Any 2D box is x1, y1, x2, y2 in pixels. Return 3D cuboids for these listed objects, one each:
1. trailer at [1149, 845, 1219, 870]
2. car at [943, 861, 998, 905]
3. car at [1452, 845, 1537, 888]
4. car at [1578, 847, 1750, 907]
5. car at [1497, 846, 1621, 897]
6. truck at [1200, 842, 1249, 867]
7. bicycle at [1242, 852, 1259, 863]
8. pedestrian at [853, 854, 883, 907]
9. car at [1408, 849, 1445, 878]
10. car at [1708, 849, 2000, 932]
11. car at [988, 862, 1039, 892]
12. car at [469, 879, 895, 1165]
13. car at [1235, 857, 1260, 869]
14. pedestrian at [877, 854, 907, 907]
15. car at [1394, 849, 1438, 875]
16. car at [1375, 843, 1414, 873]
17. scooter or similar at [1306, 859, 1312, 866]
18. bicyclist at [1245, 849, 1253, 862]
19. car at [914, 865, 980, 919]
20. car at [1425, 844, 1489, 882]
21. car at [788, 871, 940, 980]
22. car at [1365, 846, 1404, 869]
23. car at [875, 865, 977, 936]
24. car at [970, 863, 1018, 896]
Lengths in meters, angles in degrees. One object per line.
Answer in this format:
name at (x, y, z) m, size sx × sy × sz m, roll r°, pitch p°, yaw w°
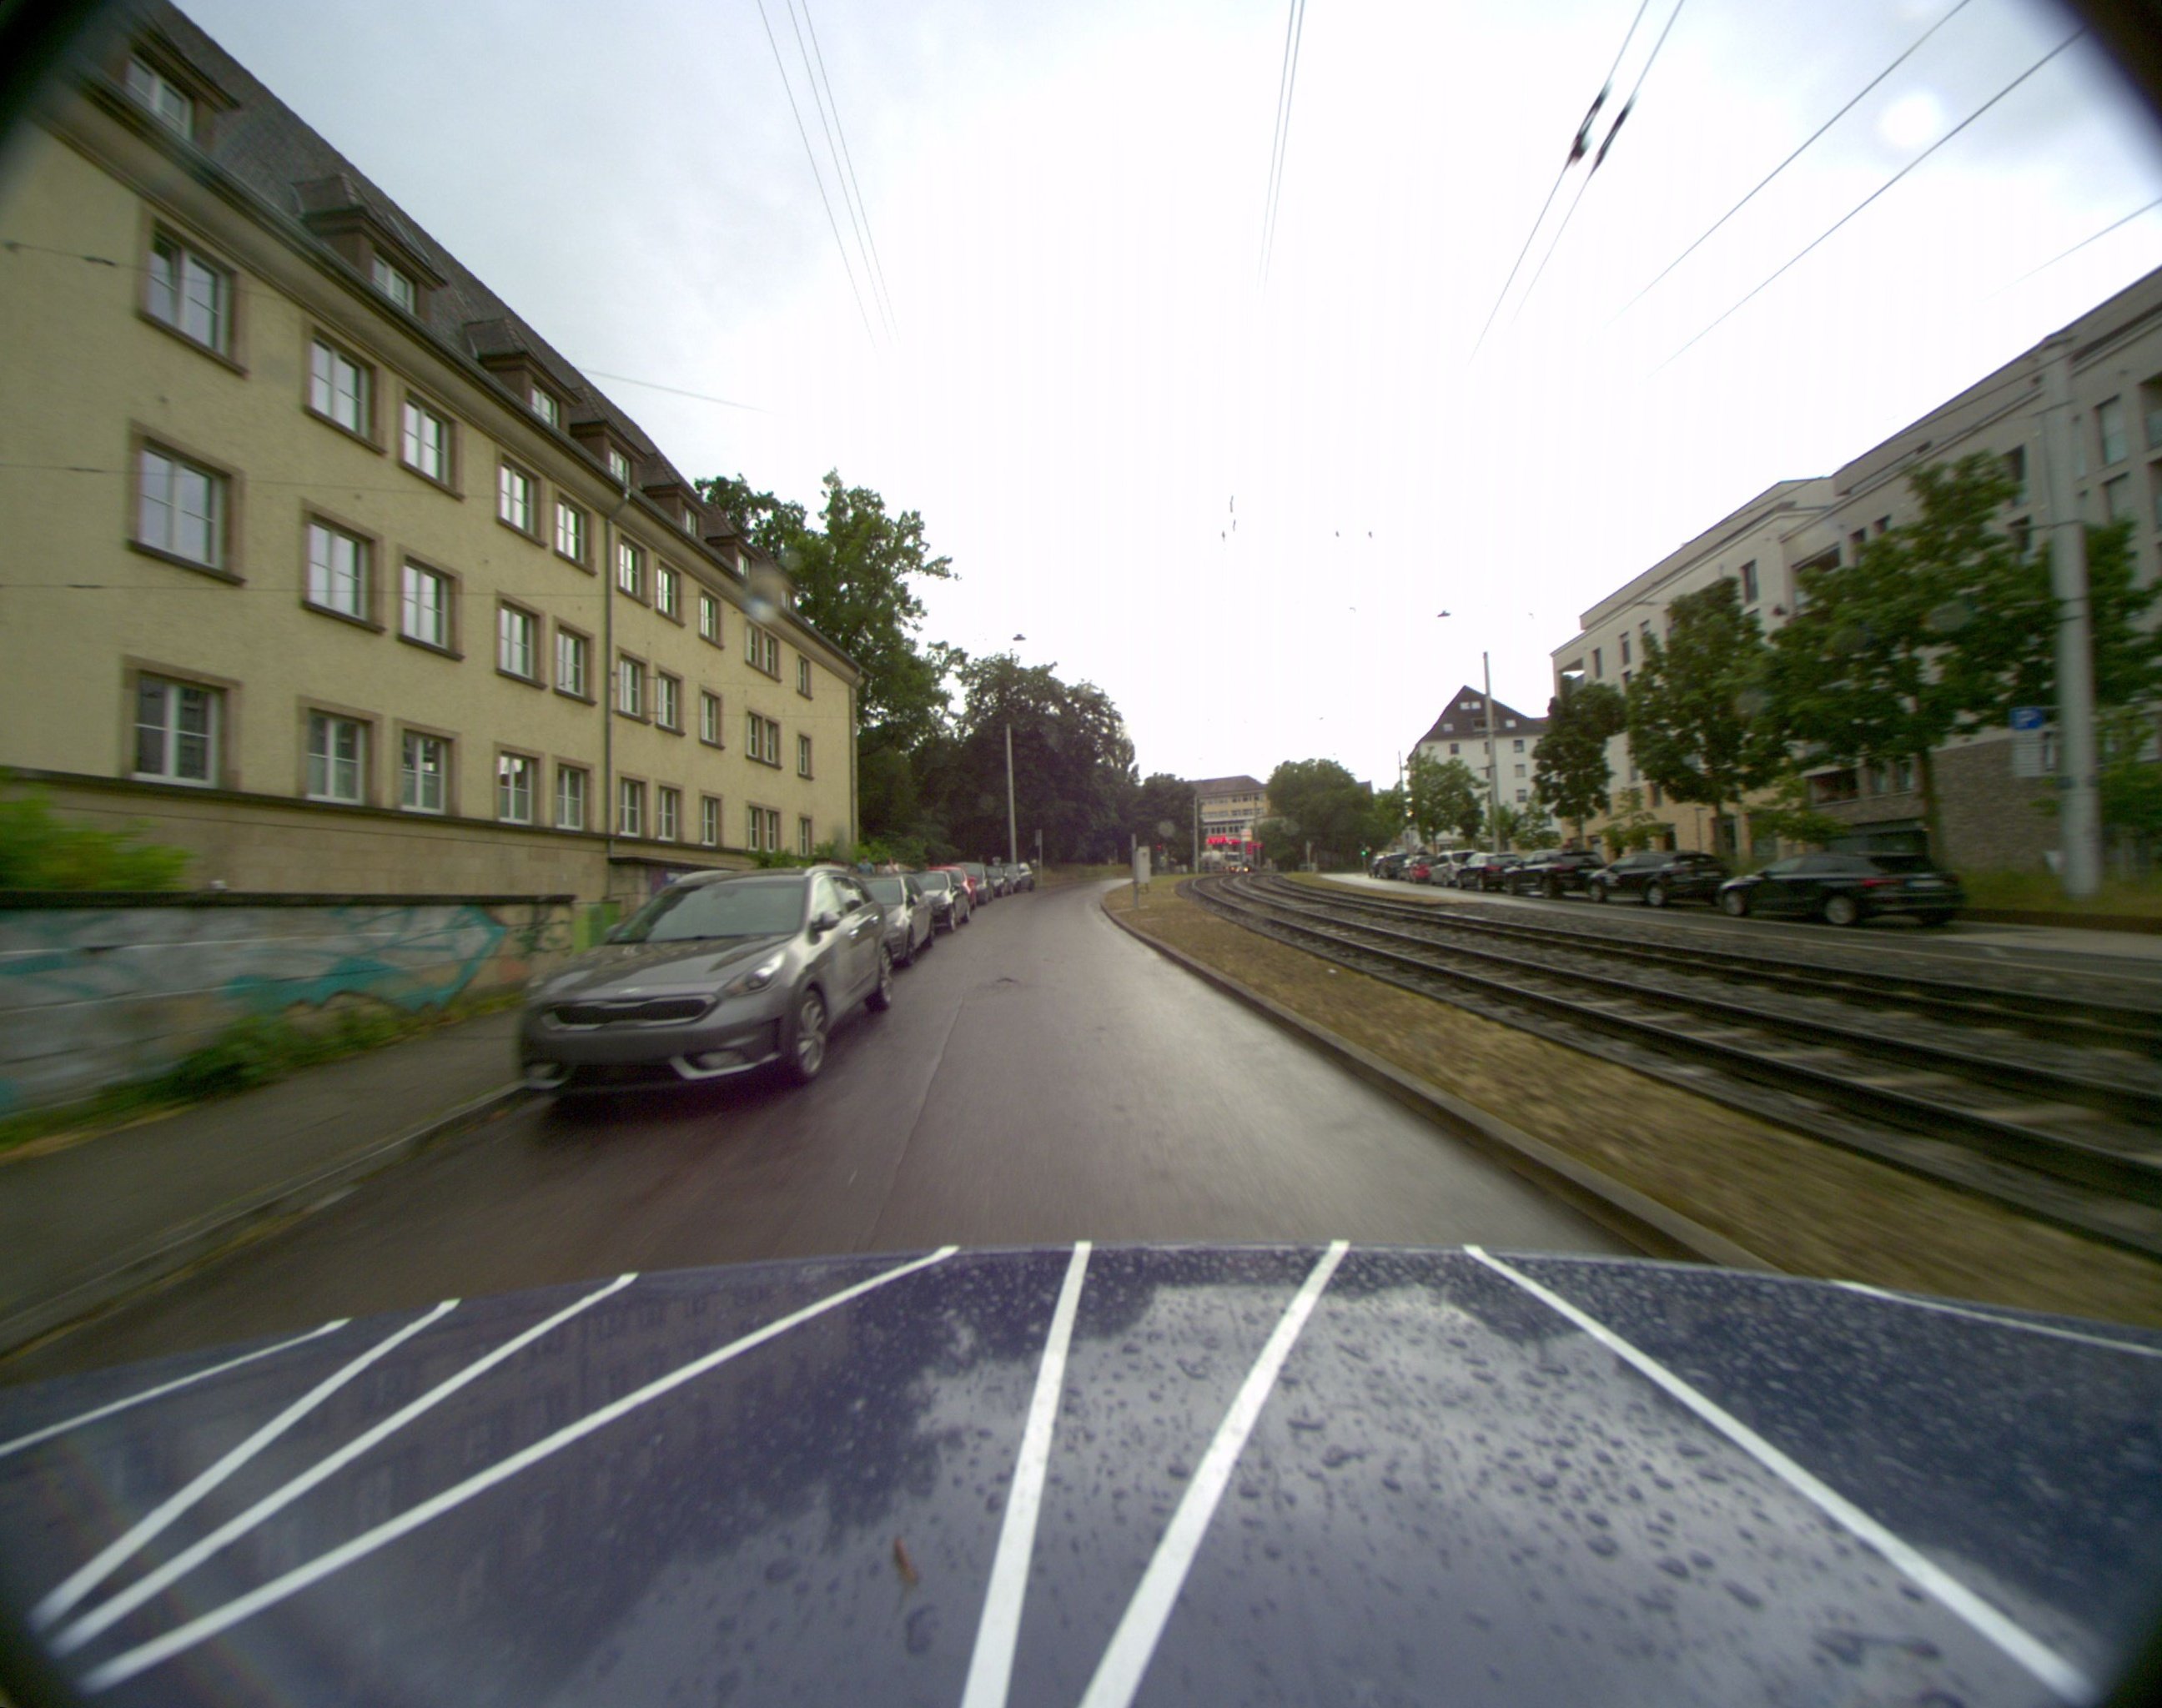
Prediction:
trailer at (15.045, 0.515, 111.715) m, size 9.809 × 3.375 × 2.819 m, roll -2°, pitch 0°, yaw 35°
car at (-4.226, 1.055, 29.444) m, size 1.670 × 1.564 × 3.855 m, roll 0°, pitch 0°, yaw -2°
car at (17.385, 0.501, 32.203) m, size 1.735 × 1.634 × 4.535 m, roll -2°, pitch 0°, yaw 9°
car at (16.442, 0.593, 21.748) m, size 1.741 × 1.480 × 4.258 m, roll -2°, pitch 0°, yaw 2°
car at (16.620, 0.575, 26.707) m, size 1.806 × 1.574 × 4.701 m, roll -2°, pitch 0°, yaw 7°
truck at (20.389, 0.058, 108.184) m, size 6.108 × 3.379 × 2.843 m, roll -1°, pitch 0°, yaw 36°
bicycle at (17.692, 0.398, 79.449) m, size 1.709 × 1.133 × 0.626 m, roll -2°, pitch 0°, yaw 8°
pedestrian at (-7.118, 0.883, 25.419) m, size 0.719 × 1.744 × 0.739 m, roll -1°, pitch 0°, yaw 7°
car at (19.343, 0.513, 42.644) m, size 1.471 × 1.522 × 2.934 m, roll -2°, pitch 0°, yaw 16°
car at (15.670, 0.655, 15.810) m, size 1.970 × 1.422 × 4.200 m, roll -2°, pitch 0°, yaw 4°
car at (-3.440, 1.139, 38.944) m, size 1.599 × 1.457 × 2.725 m, roll 0°, pitch 0°, yaw 19°
car at (-2.807, 1.035, 6.473) m, size 1.670 × 1.515 × 4.107 m, roll 0°, pitch 0°, yaw -4°
car at (21.692, 1.139, 99.058) m, size 1.886 × 1.482 × 3.857 m, roll -1°, pitch 0°, yaw 33°
pedestrian at (-6.278, 0.871, 25.251) m, size 0.719 × 1.744 × 0.739 m, roll -1°, pitch 0°, yaw 7°
car at (20.656, 0.471, 46.975) m, size 1.553 × 1.439 × 4.404 m, roll -3°, pitch 0°, yaw 12°
car at (21.469, 0.272, 52.169) m, size 1.584 × 1.848 × 4.337 m, roll -3°, pitch 0°, yaw 12°
scooter or similar at (41.665, 1.468, 138.951) m, size 0.399 × 1.186 × 1.365 m, roll -1°, pitch 3°, yaw 43°
bicyclist at (17.589, 0.162, 79.601) m, size 0.799 × 1.287 × 0.595 m, roll -2°, pitch 1°, yaw 7°
car at (-4.177, 1.139, 24.215) m, size 1.670 × 1.468 × 4.064 m, roll -2°, pitch 0°, yaw -5°
car at (18.650, 0.420, 37.852) m, size 1.666 × 1.737 × 4.260 m, roll -2°, pitch 0°, yaw 10°
car at (-3.481, 1.065, 12.934) m, size 1.670 × 1.468 × 4.107 m, roll 0°, pitch 0°, yaw -4°
car at (22.662, 0.224, 56.893) m, size 1.997 × 1.595 × 4.219 m, roll -2°, pitch 0°, yaw 13°
car at (-3.633, 1.031, 18.521) m, size 1.670 × 1.468 × 4.456 m, roll 0°, pitch 0°, yaw -1°
car at (-3.974, 1.147, 35.177) m, size 1.539 × 1.408 × 3.645 m, roll 0°, pitch 0°, yaw 4°
